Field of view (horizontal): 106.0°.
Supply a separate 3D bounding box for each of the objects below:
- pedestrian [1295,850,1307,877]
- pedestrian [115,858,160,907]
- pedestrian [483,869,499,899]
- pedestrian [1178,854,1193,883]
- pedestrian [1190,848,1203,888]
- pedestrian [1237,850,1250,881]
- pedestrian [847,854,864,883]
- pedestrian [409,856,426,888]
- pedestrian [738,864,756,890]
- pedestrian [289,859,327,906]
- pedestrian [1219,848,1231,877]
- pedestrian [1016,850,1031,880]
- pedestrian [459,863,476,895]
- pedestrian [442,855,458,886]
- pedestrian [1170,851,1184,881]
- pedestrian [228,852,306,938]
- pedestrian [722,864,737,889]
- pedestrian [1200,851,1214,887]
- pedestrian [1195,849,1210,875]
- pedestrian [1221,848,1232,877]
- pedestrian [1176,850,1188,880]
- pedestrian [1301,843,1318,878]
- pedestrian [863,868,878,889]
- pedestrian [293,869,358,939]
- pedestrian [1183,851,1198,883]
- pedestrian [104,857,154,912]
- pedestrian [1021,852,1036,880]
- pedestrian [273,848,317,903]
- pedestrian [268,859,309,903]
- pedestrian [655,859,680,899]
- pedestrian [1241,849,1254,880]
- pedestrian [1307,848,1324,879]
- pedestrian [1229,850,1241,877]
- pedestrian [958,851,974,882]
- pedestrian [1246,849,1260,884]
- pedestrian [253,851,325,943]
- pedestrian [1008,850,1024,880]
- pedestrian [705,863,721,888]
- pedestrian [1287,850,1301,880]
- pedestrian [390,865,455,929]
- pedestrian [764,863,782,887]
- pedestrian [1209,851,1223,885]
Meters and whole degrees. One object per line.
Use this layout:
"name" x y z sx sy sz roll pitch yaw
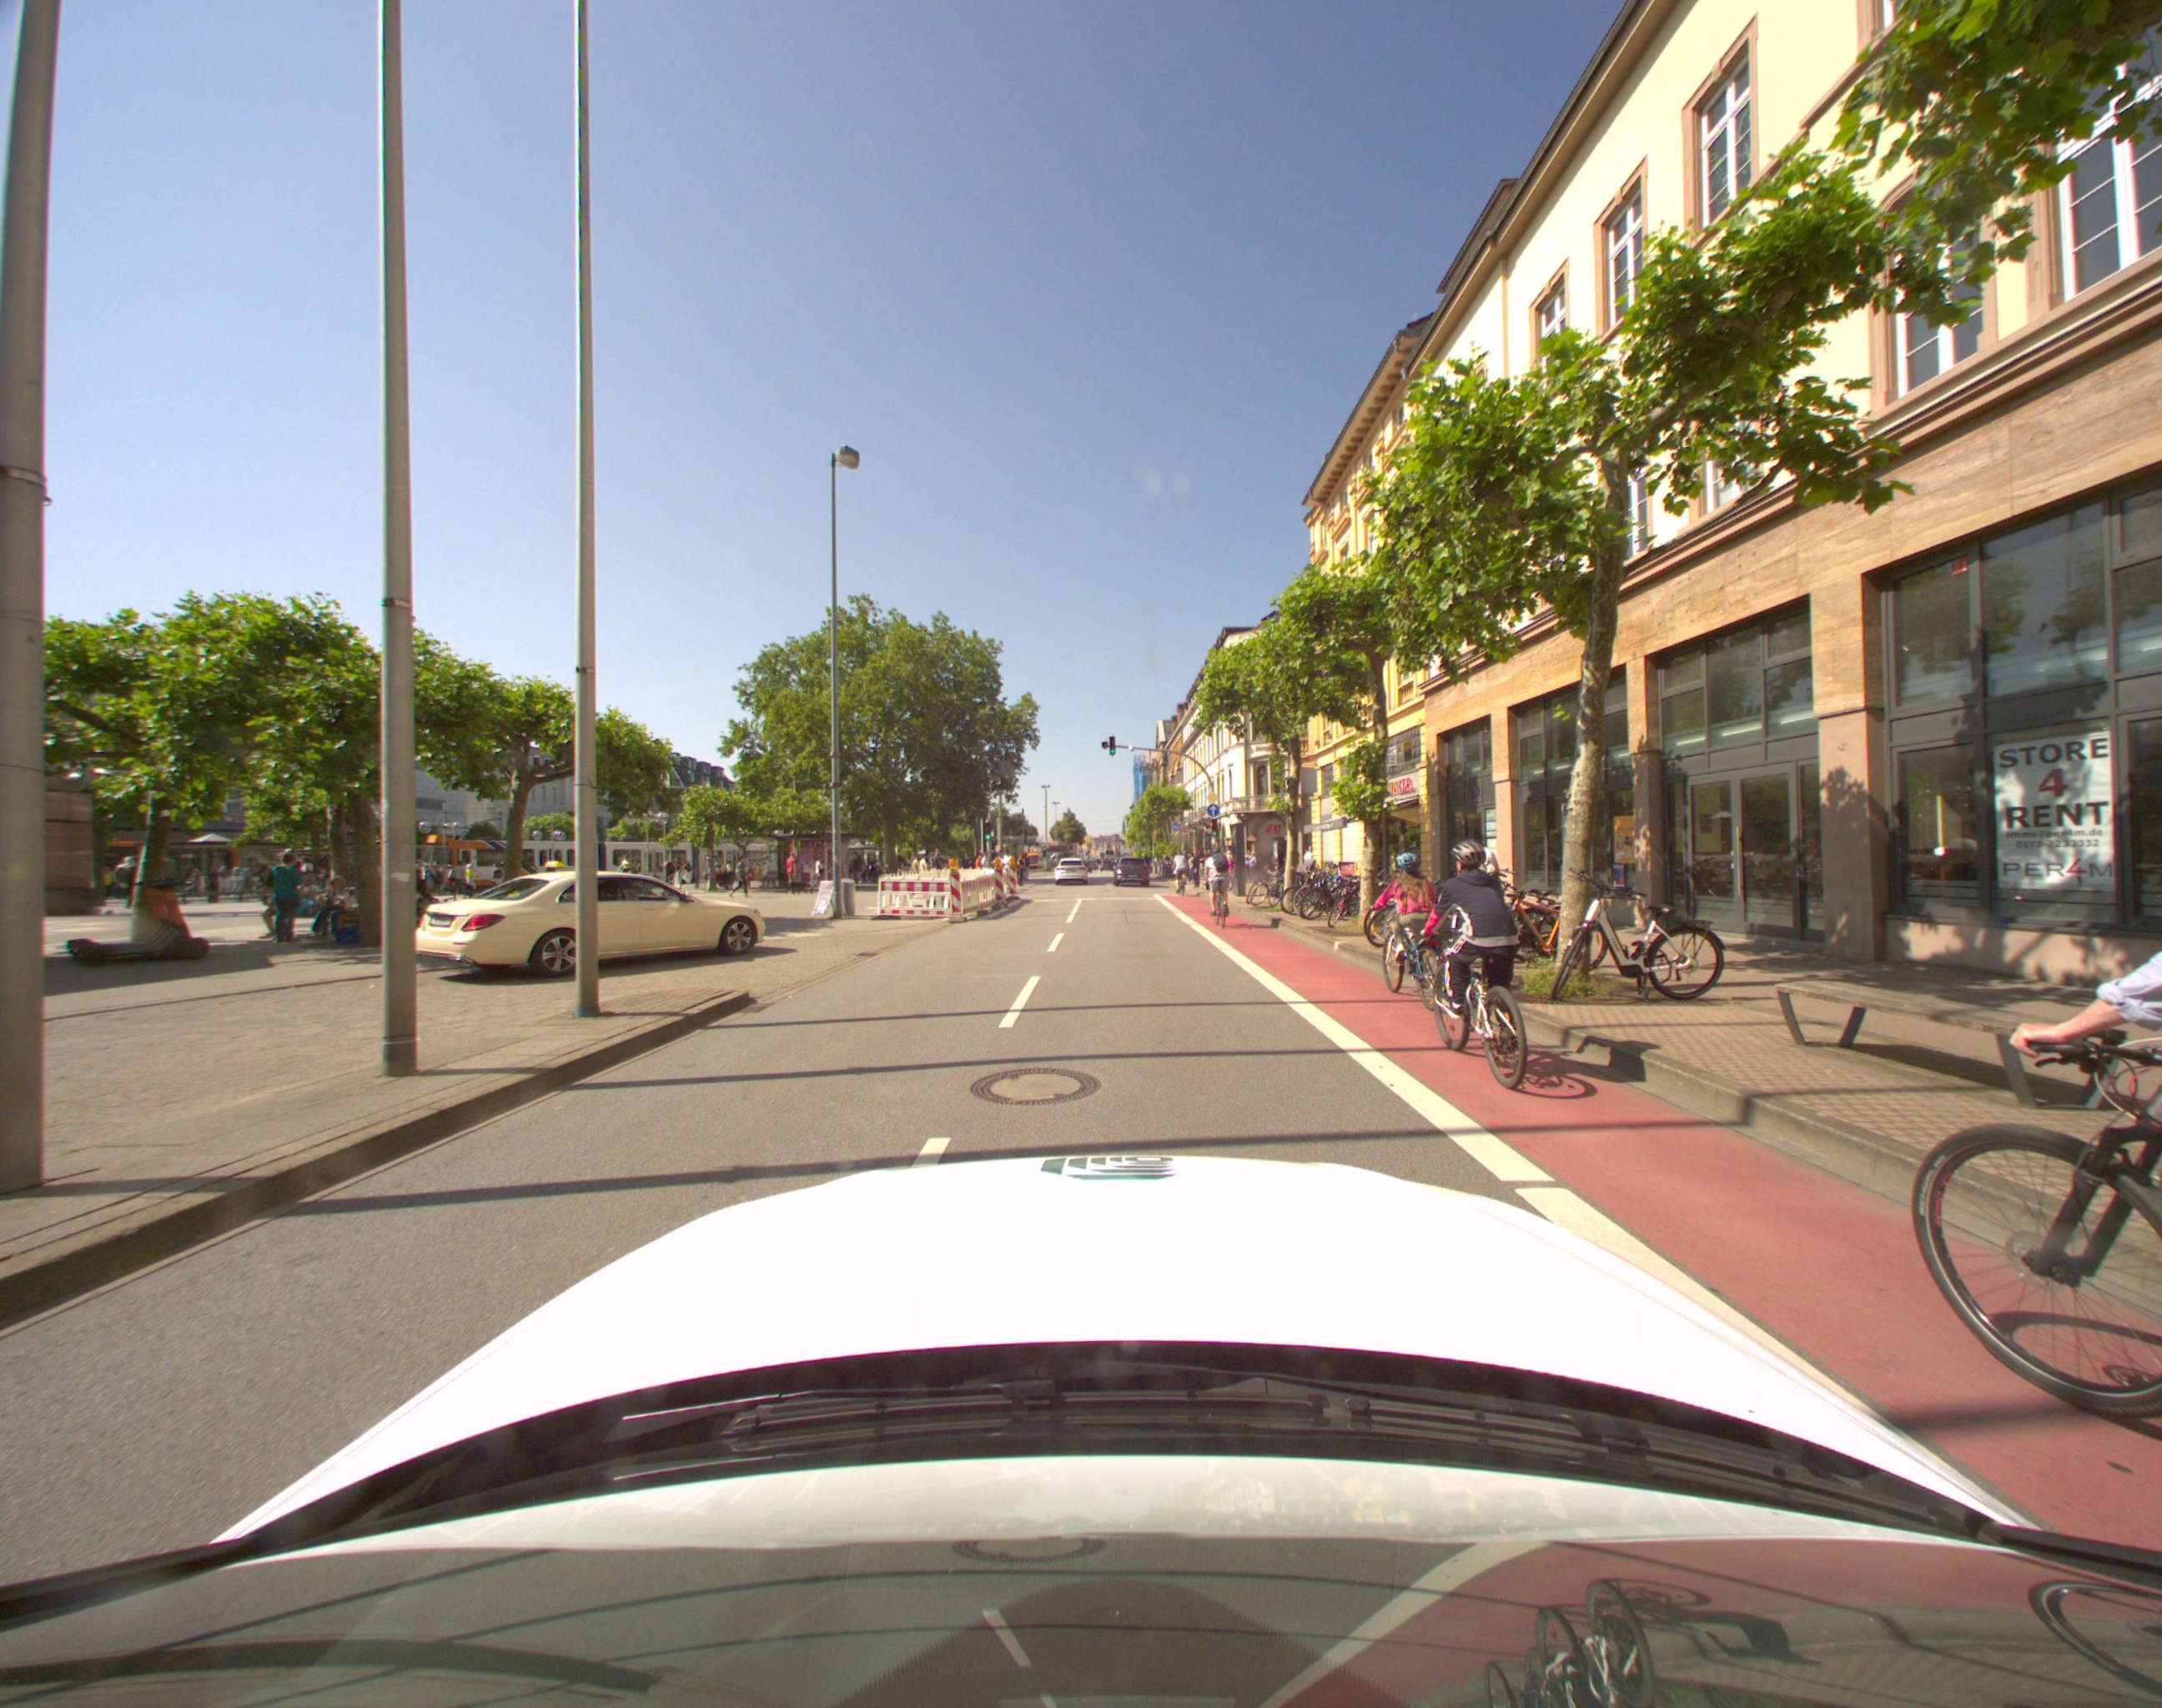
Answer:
"pedestrian" 13.280 0.561 49.137 0.538 1.633 0.677 0 -1 0
"pedestrian" -33.003 0.987 28.507 0.799 1.666 0.605 0 -1 -4
"pedestrian" -35.766 1.812 49.344 0.793 1.749 0.610 -1 -1 40
"pedestrian" 5.816 0.792 45.196 0.608 1.515 0.677 -5 -1 0
"pedestrian" 5.645 0.673 39.780 0.520 1.898 0.642 -2 -1 5
"pedestrian" 8.490 0.613 42.474 0.521 1.609 0.642 -2 -1 2
"pedestrian" -14.093 0.906 50.900 0.627 1.810 0.618 -5 -3 21
"pedestrian" -36.621 0.985 44.928 0.737 1.749 0.610 -1 -1 40
"pedestrian" -16.867 1.158 41.116 0.605 1.262 0.615 -1 -1 37
"pedestrian" -29.408 1.072 30.985 0.799 1.749 0.605 0 -1 -4
"pedestrian" 9.256 0.538 52.408 0.608 1.807 0.677 -1 -1 0
"pedestrian" -3.471 0.676 49.498 0.627 1.794 0.735 -1 -1 22
"pedestrian" -34.415 1.398 45.703 0.737 1.749 0.610 -1 -1 40
"pedestrian" -36.174 0.930 46.690 0.737 1.749 0.610 -1 -1 40
"pedestrian" 5.689 0.714 48.182 0.608 1.739 0.677 -5 -1 0
"pedestrian" -15.505 0.764 15.526 0.804 1.606 0.670 0 0 -12
"pedestrian" -17.661 1.127 40.927 0.611 1.262 0.609 -1 -1 -20
"pedestrian" 5.906 0.708 38.116 0.546 1.631 0.589 -2 -1 5
"pedestrian" 8.045 0.534 53.959 0.613 1.705 0.672 -2 0 -27
"pedestrian" 9.237 0.545 51.725 0.608 1.824 0.677 -1 -1 0
"pedestrian" 6.327 0.684 50.920 0.608 1.824 0.677 -1 -1 0
"pedestrian" 11.904 0.322 42.493 0.554 1.801 0.581 -1 -2 -43
"pedestrian" -13.310 1.555 51.469 0.627 1.293 0.735 -1 -1 22
"pedestrian" -14.644 0.960 15.803 0.672 1.309 0.683 0 0 -16
"pedestrian" 6.226 0.717 46.471 0.608 1.759 0.677 -5 -1 0
"pedestrian" -30.448 0.977 26.059 0.799 1.749 0.605 0 -1 -4
"pedestrian" -3.448 0.775 53.292 0.626 1.834 0.735 -1 -1 31
"pedestrian" -26.002 0.720 26.943 0.800 1.799 0.605 1 -1 -5
"pedestrian" -27.950 0.947 28.718 0.799 1.561 0.605 0 -1 -4
"pedestrian" -18.588 1.108 36.596 0.598 1.749 0.809 0 -1 33
"pedestrian" 8.914 0.555 43.514 0.521 1.611 0.642 -2 -1 2
"pedestrian" 12.233 0.512 42.531 0.554 1.569 0.581 -1 -2 -43
"pedestrian" 9.448 0.575 50.013 0.608 1.618 0.678 -1 1 0
"pedestrian" -6.833 0.746 48.465 0.627 1.810 0.735 -1 -1 22
"pedestrian" 8.190 0.610 38.819 0.546 1.640 0.589 -2 -1 5
"pedestrian" -14.798 0.784 15.225 0.670 1.677 0.686 0 0 -7
"pedestrian" -4.144 0.715 51.926 0.626 1.859 0.735 -1 -1 31
"pedestrian" -19.018 1.127 42.104 0.616 1.262 0.604 0 -1 -43
"pedestrian" 12.873 0.681 49.205 0.608 1.807 0.677 -1 -1 0
"pedestrian" -14.703 0.938 18.214 0.667 1.381 0.900 0 0 10
"pedestrian" -16.036 1.086 42.380 0.605 1.262 0.615 -1 -1 28
"pedestrian" 6.177 0.652 37.164 0.520 1.521 0.642 -2 -1 5
